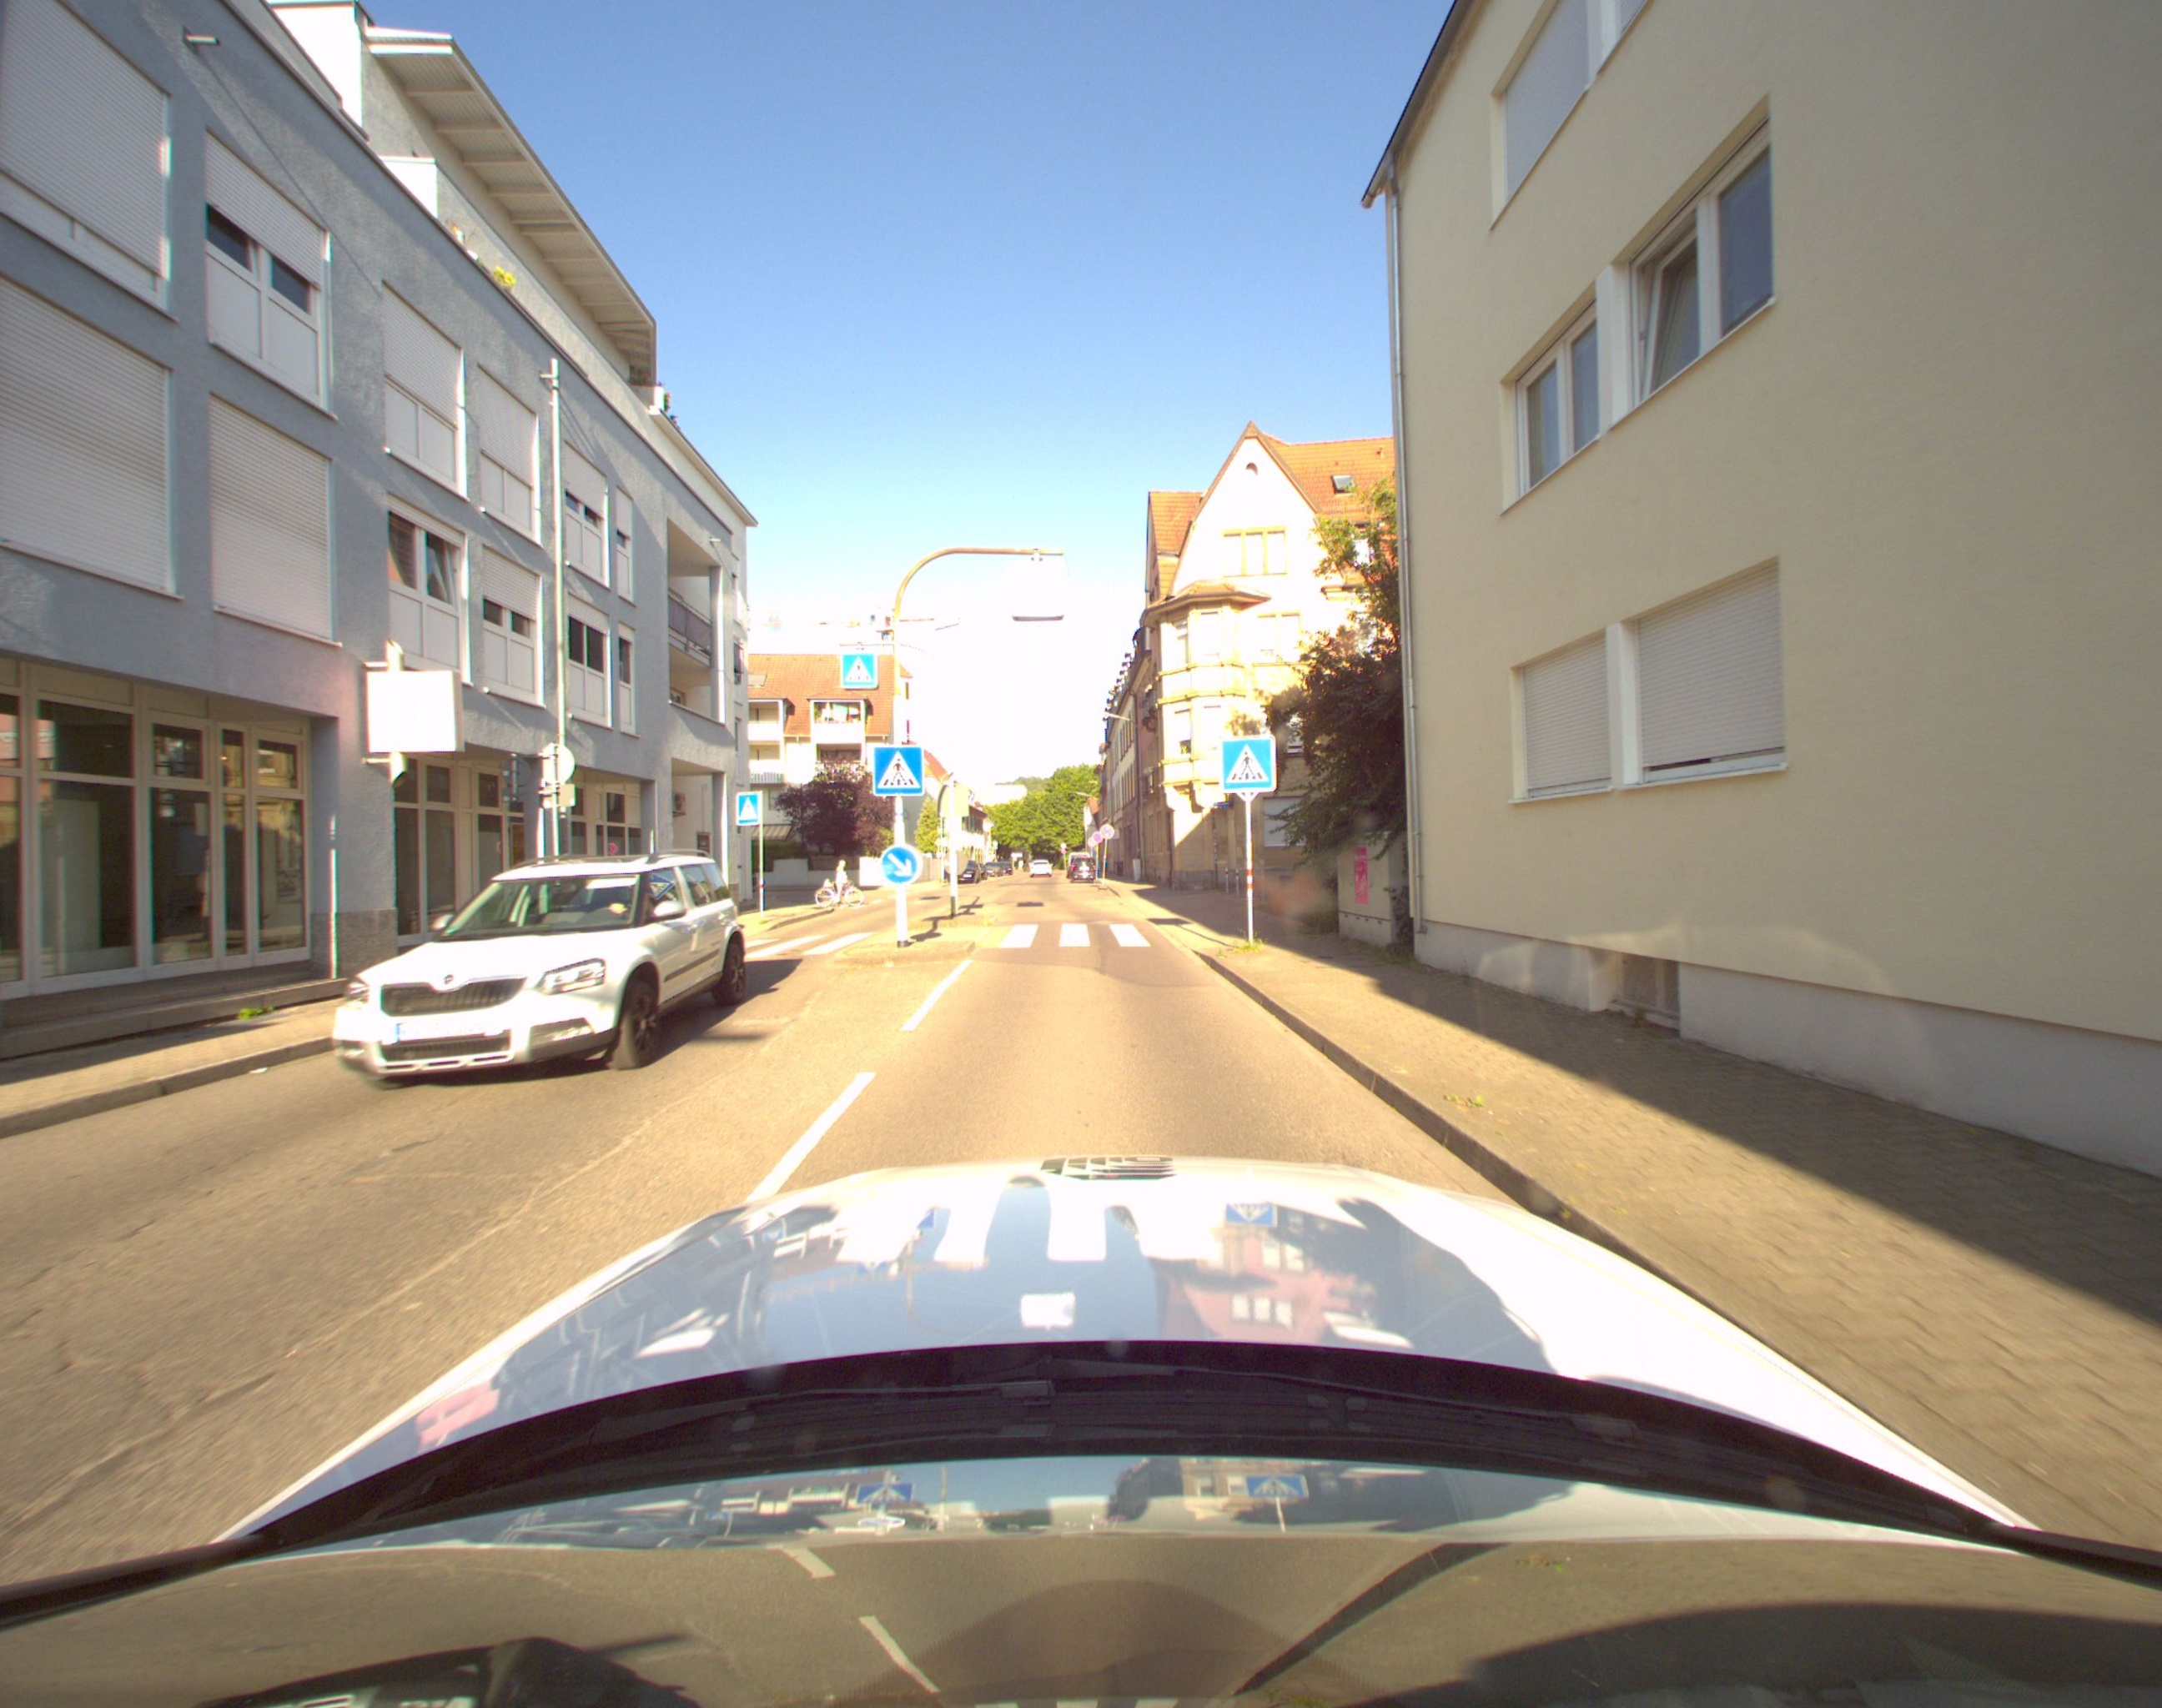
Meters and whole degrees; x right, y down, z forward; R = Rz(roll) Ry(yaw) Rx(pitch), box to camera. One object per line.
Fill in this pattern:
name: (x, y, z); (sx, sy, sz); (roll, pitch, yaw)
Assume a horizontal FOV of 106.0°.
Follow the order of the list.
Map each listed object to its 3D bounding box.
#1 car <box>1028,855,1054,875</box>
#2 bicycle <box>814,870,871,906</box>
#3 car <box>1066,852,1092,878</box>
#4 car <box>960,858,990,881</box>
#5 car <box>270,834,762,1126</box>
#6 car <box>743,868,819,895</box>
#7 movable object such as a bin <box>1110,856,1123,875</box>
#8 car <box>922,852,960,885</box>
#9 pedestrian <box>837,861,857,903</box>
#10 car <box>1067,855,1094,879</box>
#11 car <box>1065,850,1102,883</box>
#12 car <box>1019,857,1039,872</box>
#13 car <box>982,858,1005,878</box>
car: (-3.319, 0.895, 67.353); (1.990, 1.466, 3.994); (-2, 0, -4)
bicycle: (-8.425, 1.186, 28.797); (1.782, 1.184, 0.598); (-2, 0, -2)
car: (-0.210, 0.854, 65.612); (1.837, 1.905, 3.996); (-3, 1, -3)
car: (-8.566, 1.214, 66.196); (2.088, 1.630, 3.817); (-3, 1, -3)
car: (-4.381, 0.785, 7.277); (1.806, 1.701, 4.180); (-4, 0, -8)
car: (-16.334, 1.475, 44.426); (3.536, 1.181, 1.613); (-3, 1, -6)
movable object such as a bin: (2.621, 0.851, 60.286); (0.869, 1.377, 0.684); (-4, 1, -3)
car: (-9.133, 0.916, 53.515); (1.990, 2.013, 3.994); (-2, 0, -4)
pedestrian: (-8.372, 0.990, 29.163); (0.556, 1.472, 0.600); (-2, 0, -6)
car: (-0.019, 0.938, 60.697); (1.812, 1.630, 4.000); (-3, 1, 0)
car: (0.127, 0.716, 49.338); (2.006, 1.853, 3.995); (-1, 1, -3)
car: (-7.131, 1.419, 111.189); (1.995, 2.013, 3.983); (-2, 0, -12)
car: (-8.621, 1.348, 80.548); (1.906, 1.760, 4.124); (-3, 1, -3)
